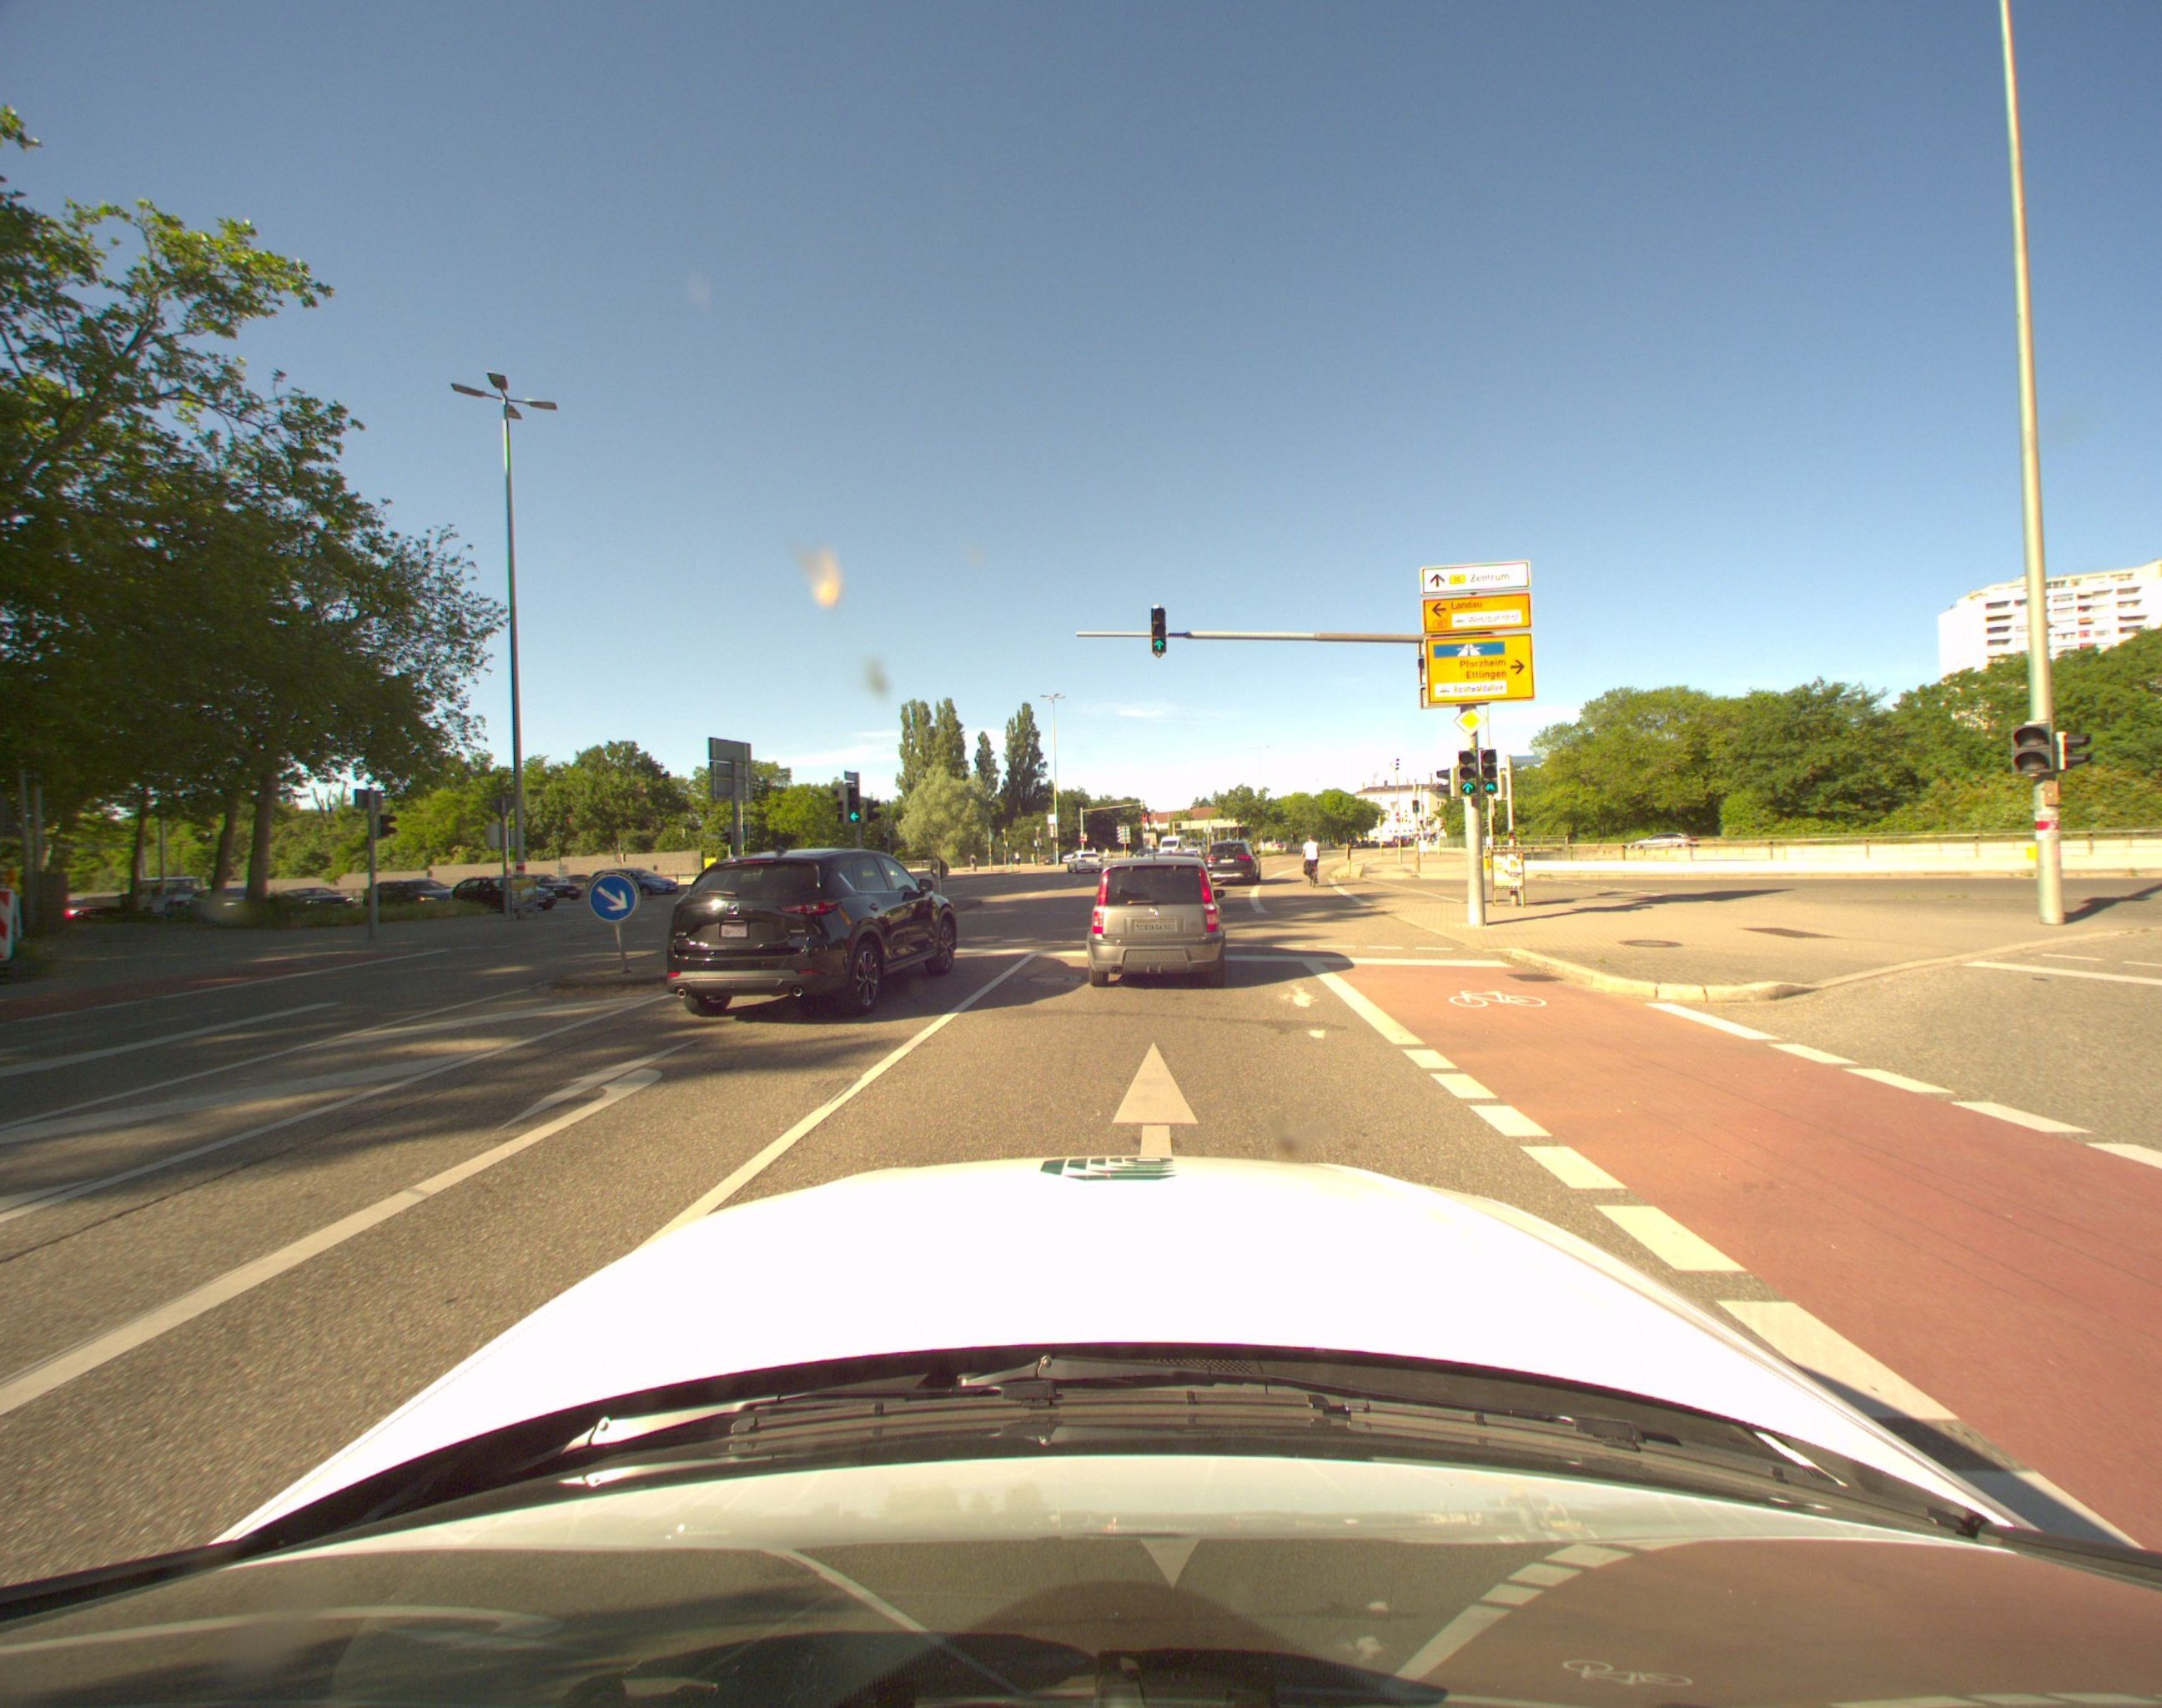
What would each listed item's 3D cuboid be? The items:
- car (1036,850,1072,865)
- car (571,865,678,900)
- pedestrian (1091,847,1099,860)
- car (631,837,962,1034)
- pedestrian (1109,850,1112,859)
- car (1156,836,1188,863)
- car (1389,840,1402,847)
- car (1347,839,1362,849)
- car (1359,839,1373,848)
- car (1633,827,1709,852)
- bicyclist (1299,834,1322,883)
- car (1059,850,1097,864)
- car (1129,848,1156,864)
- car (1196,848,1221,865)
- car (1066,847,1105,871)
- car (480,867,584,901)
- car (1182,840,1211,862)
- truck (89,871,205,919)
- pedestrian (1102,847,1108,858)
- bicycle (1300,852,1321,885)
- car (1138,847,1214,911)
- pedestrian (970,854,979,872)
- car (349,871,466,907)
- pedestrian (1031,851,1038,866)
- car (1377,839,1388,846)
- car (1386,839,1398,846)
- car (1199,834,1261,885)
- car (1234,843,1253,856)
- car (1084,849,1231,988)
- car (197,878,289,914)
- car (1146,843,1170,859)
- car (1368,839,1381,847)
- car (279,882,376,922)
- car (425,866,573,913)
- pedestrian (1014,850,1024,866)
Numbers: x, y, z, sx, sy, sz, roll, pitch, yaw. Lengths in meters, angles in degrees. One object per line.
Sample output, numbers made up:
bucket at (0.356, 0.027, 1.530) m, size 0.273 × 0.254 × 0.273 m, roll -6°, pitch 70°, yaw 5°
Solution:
car at (-3.163, 0.429, 96.412) m, size 4.021 × 1.625 × 1.878 m, roll 1°, pitch -2°, yaw -41°
car at (-23.046, 1.439, 41.164) m, size 4.415 × 1.540 × 1.957 m, roll -2°, pitch 0°, yaw 10°
pedestrian at (1.905, -0.080, 111.178) m, size 0.782 × 1.664 × 0.633 m, roll -1°, pitch -2°, yaw 30°
car at (-2.860, 0.719, 9.334) m, size 1.864 × 1.709 × 4.205 m, roll -2°, pitch 0°, yaw 7°
pedestrian at (4.188, 0.069, 115.953) m, size 0.419 × 1.136 × 0.400 m, roll -1°, pitch -2°, yaw 22°
car at (9.346, -0.520, 83.223) m, size 1.921 × 2.576 × 6.117 m, roll -2°, pitch 0°, yaw 18°
car at (83.391, -2.774, 215.634) m, size 1.926 × 1.528 × 4.123 m, roll -2°, pitch 0°, yaw 40°
car at (45.492, -1.697, 135.502) m, size 1.927 × 1.528 × 4.121 m, roll -2°, pitch 0°, yaw 25°
car at (52.308, -1.993, 149.254) m, size 1.927 × 1.528 × 4.122 m, roll -2°, pitch 0°, yaw 26°
car at (40.783, -0.980, 56.331) m, size 4.190 × 1.552 × 1.873 m, roll -2°, pitch 0°, yaw 37°
bicyclist at (8.072, 0.155, 28.666) m, size 0.719 × 1.659 × 1.117 m, roll -1°, pitch 0°, yaw 15°
car at (-0.280, 0.316, 94.271) m, size 4.354 × 1.535 × 1.763 m, roll -2°, pitch 1°, yaw -44°
car at (6.390, 0.212, 84.273) m, size 1.922 × 1.507 × 4.016 m, roll -3°, pitch 0°, yaw 15°
car at (13.315, 0.192, 84.854) m, size 1.921 × 1.622 × 4.527 m, roll -2°, pitch 0°, yaw 18°
car at (0.258, 0.318, 53.900) m, size 1.781 × 1.415 × 4.303 m, roll -2°, pitch 0°, yaw -10°
car at (-28.440, 1.547, 42.240) m, size 4.412 × 1.540 × 1.959 m, roll -2°, pitch 0°, yaw 13°
car at (11.358, -0.293, 79.685) m, size 1.921 × 2.008 × 4.954 m, roll -2°, pitch 0°, yaw 18°
truck at (-50.376, 2.226, 43.896) m, size 7.421 × 2.360 × 2.177 m, roll -2°, pitch 0°, yaw 26°
pedestrian at (3.409, -0.198, 116.115) m, size 0.714 × 1.641 × 0.676 m, roll -1°, pitch -2°, yaw 22°
bicycle at (8.074, 0.488, 28.666) m, size 0.686 × 1.102 × 1.833 m, roll -1°, pitch 0°, yaw 15°
car at (2.495, 0.565, 20.667) m, size 1.607 × 1.463 × 3.762 m, roll 0°, pitch 0°, yaw 11°
pedestrian at (-8.735, 0.753, 66.610) m, size 0.679 × 1.463 × 0.701 m, roll -2°, pitch 0°, yaw -9°
car at (-28.481, 1.489, 34.444) m, size 4.455 × 1.358 × 1.890 m, roll -2°, pitch 0°, yaw 22°
pedestrian at (-5.210, 0.508, 90.463) m, size 0.558 × 1.547 × 0.572 m, roll -3°, pitch -1°, yaw -18°
car at (64.621, -2.456, 174.537) m, size 1.927 × 1.528 × 4.122 m, roll -2°, pitch 0°, yaw 26°
car at (75.881, -2.828, 198.771) m, size 1.926 × 1.528 × 4.124 m, roll -2°, pitch 0°, yaw 34°
car at (5.981, 0.174, 32.326) m, size 1.930 × 1.840 × 4.171 m, roll -2°, pitch 0°, yaw 17°
car at (23.056, -0.657, 115.297) m, size 1.921 × 1.622 × 4.528 m, roll -2°, pitch 0°, yaw 19°
car at (1.057, 0.705, 10.912) m, size 1.609 × 1.515 × 3.827 m, roll -1°, pitch 0°, yaw 6°
car at (-42.316, 2.134, 41.126) m, size 4.453 × 1.644 × 1.891 m, roll -2°, pitch 0°, yaw 26°
car at (8.647, -0.340, 91.209) m, size 1.797 × 1.541 × 4.637 m, roll -3°, pitch 0°, yaw 17°
car at (59.576, -2.244, 165.248) m, size 1.927 × 1.528 × 4.122 m, roll -2°, pitch 0°, yaw 26°
car at (-35.357, 2.258, 38.216) m, size 4.145 × 1.700 × 1.825 m, roll -2°, pitch 0°, yaw 24°
car at (-22.615, 1.364, 31.697) m, size 4.736 × 1.621 × 1.959 m, roll -2°, pitch 0°, yaw 13°
pedestrian at (-6.284, 0.396, 82.214) m, size 0.712 × 1.547 × 0.723 m, roll -2°, pitch -1°, yaw -23°
